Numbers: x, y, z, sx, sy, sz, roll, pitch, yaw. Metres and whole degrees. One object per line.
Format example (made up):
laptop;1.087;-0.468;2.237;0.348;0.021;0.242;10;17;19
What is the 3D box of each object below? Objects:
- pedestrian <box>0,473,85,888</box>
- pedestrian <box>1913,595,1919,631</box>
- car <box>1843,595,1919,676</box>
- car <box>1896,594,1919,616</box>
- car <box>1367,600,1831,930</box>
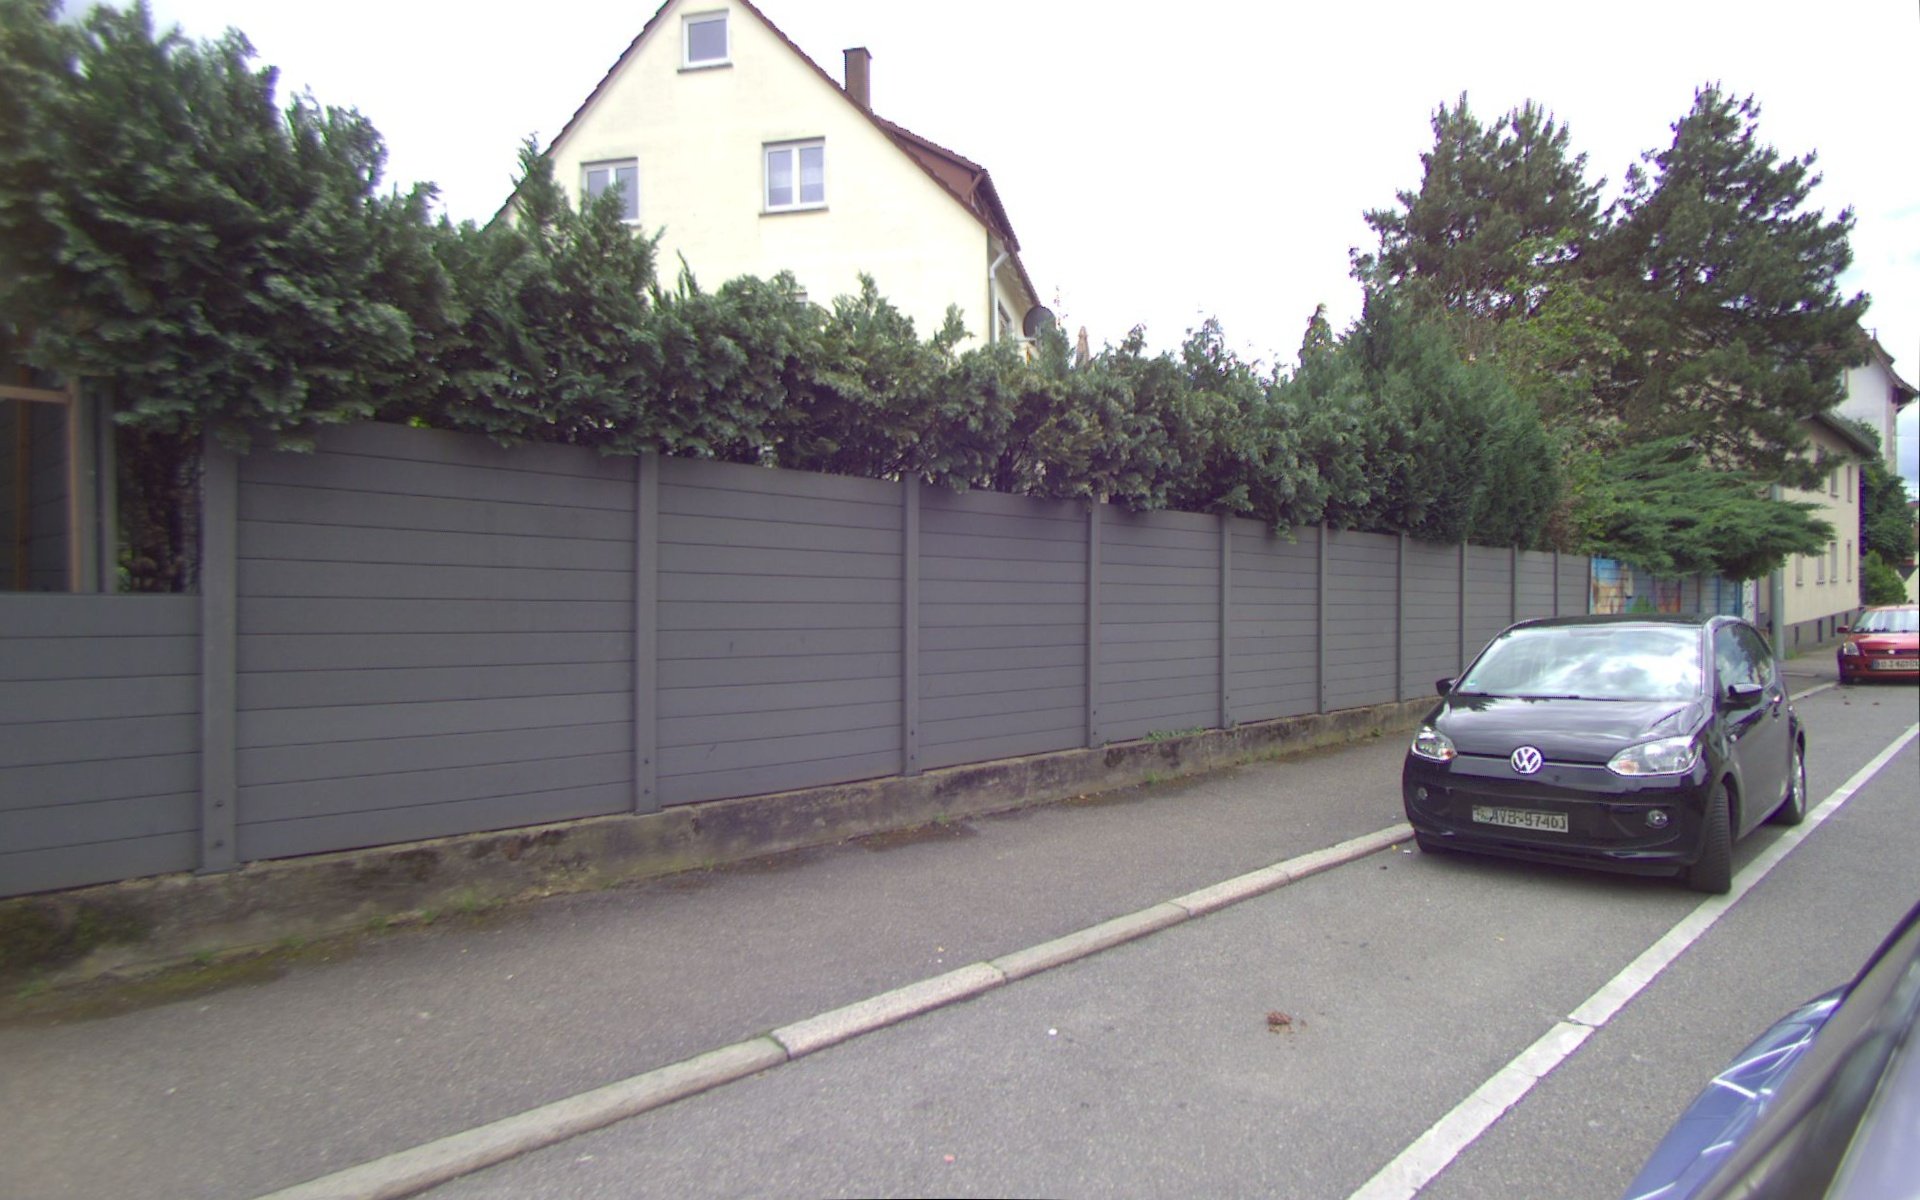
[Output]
pedestrian;-3.979;0.300;3.758;0.804;1.519;0.962;-1;-1;38
pedestrian;48.238;0.661;50.506;0.855;1.755;1.008;-1;-2;37
car;18.756;0.636;19.784;3.931;1.470;1.761;-1;-1;-42
car;80.065;0.469;84.579;1.707;1.753;3.959;0;-2;29
car;4.408;0.763;6.713;3.935;1.470;1.760;-1;1;-44
